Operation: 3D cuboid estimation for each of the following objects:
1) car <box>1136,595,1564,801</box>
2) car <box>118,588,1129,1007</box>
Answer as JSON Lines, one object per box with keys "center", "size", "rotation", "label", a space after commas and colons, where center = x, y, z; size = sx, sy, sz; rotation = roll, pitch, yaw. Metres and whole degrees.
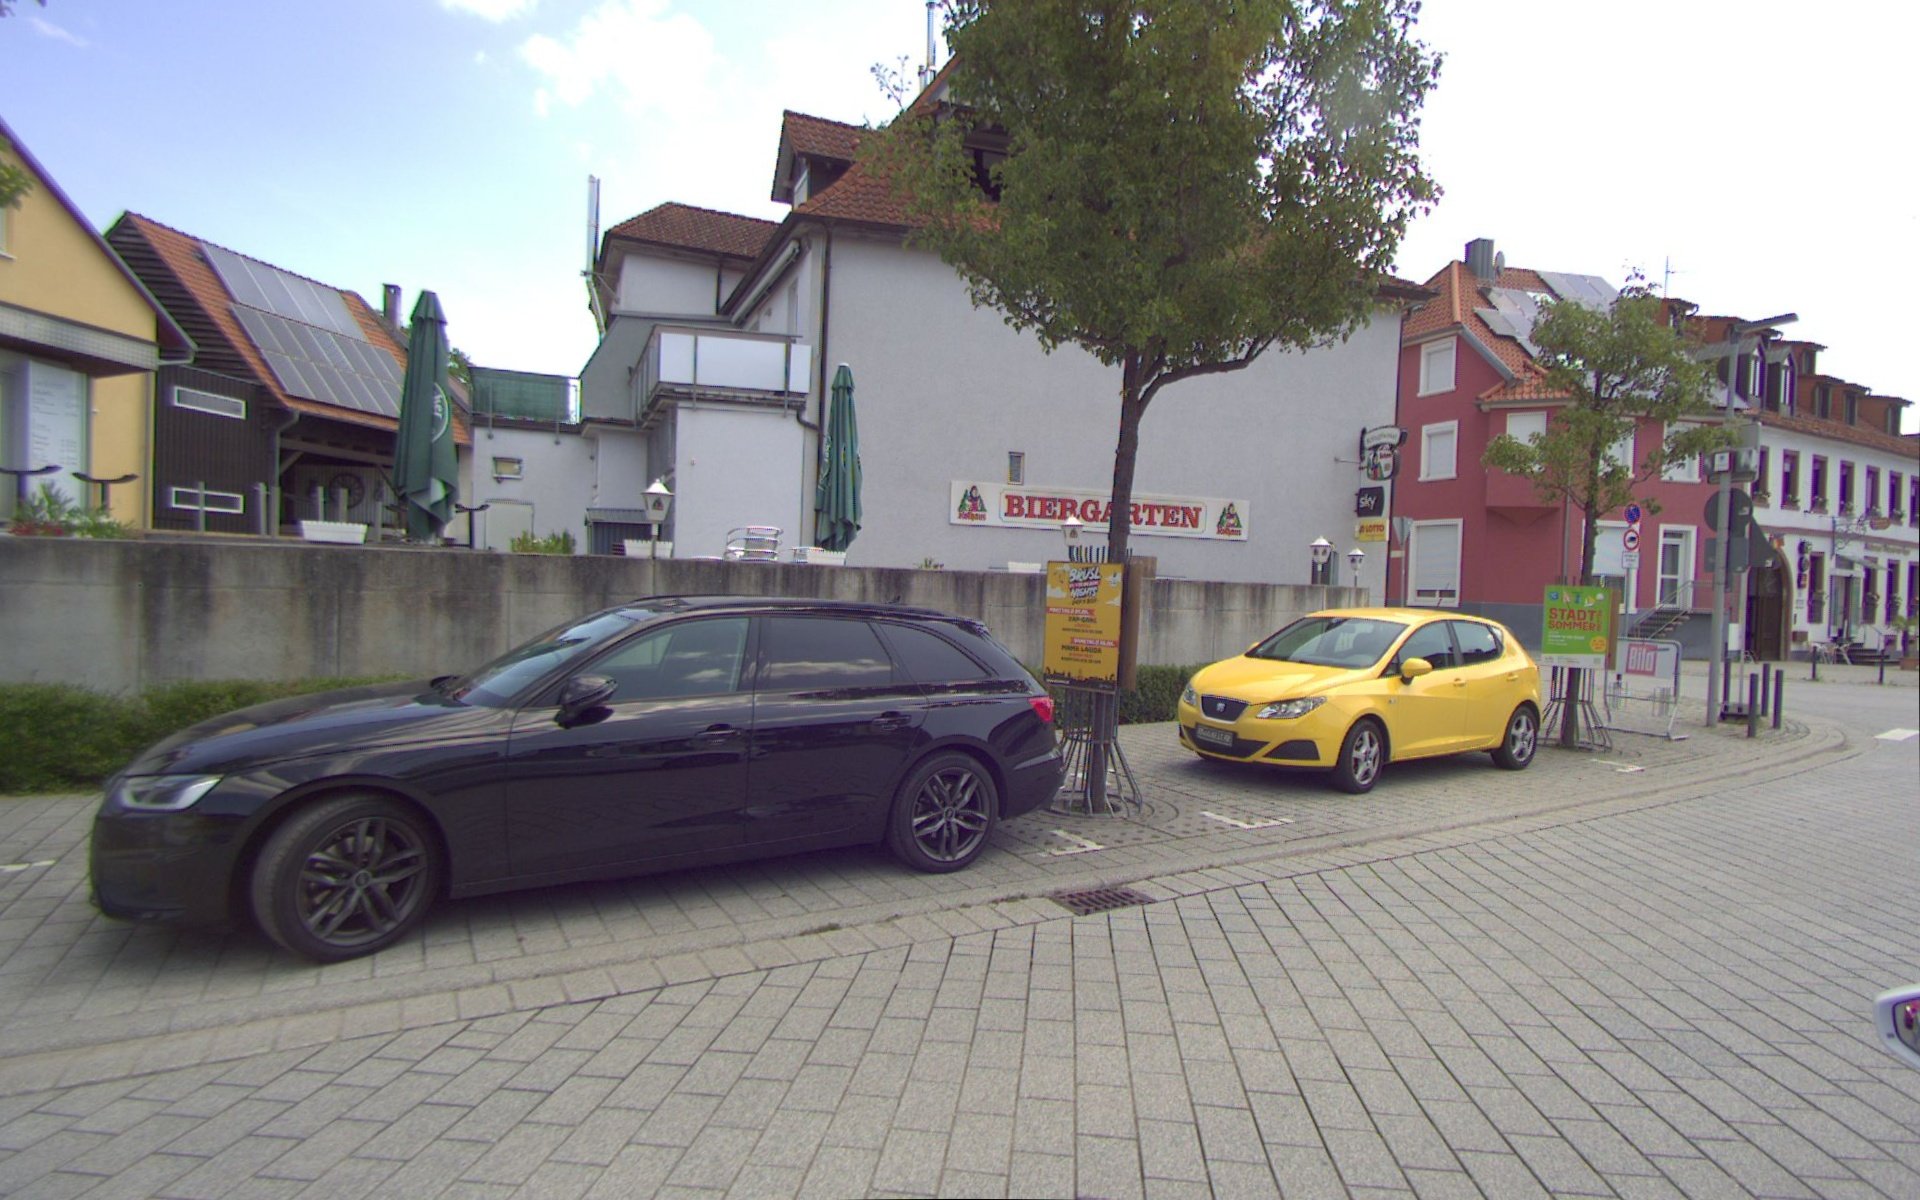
{"center": [3.630, 0.757, 9.149], "size": [3.920, 1.494, 1.658], "rotation": [1, 0, -33], "label": "car"}
{"center": [-1.427, 0.725, 5.418], "size": [4.484, 1.442, 1.807], "rotation": [1, 1, -30], "label": "car"}
